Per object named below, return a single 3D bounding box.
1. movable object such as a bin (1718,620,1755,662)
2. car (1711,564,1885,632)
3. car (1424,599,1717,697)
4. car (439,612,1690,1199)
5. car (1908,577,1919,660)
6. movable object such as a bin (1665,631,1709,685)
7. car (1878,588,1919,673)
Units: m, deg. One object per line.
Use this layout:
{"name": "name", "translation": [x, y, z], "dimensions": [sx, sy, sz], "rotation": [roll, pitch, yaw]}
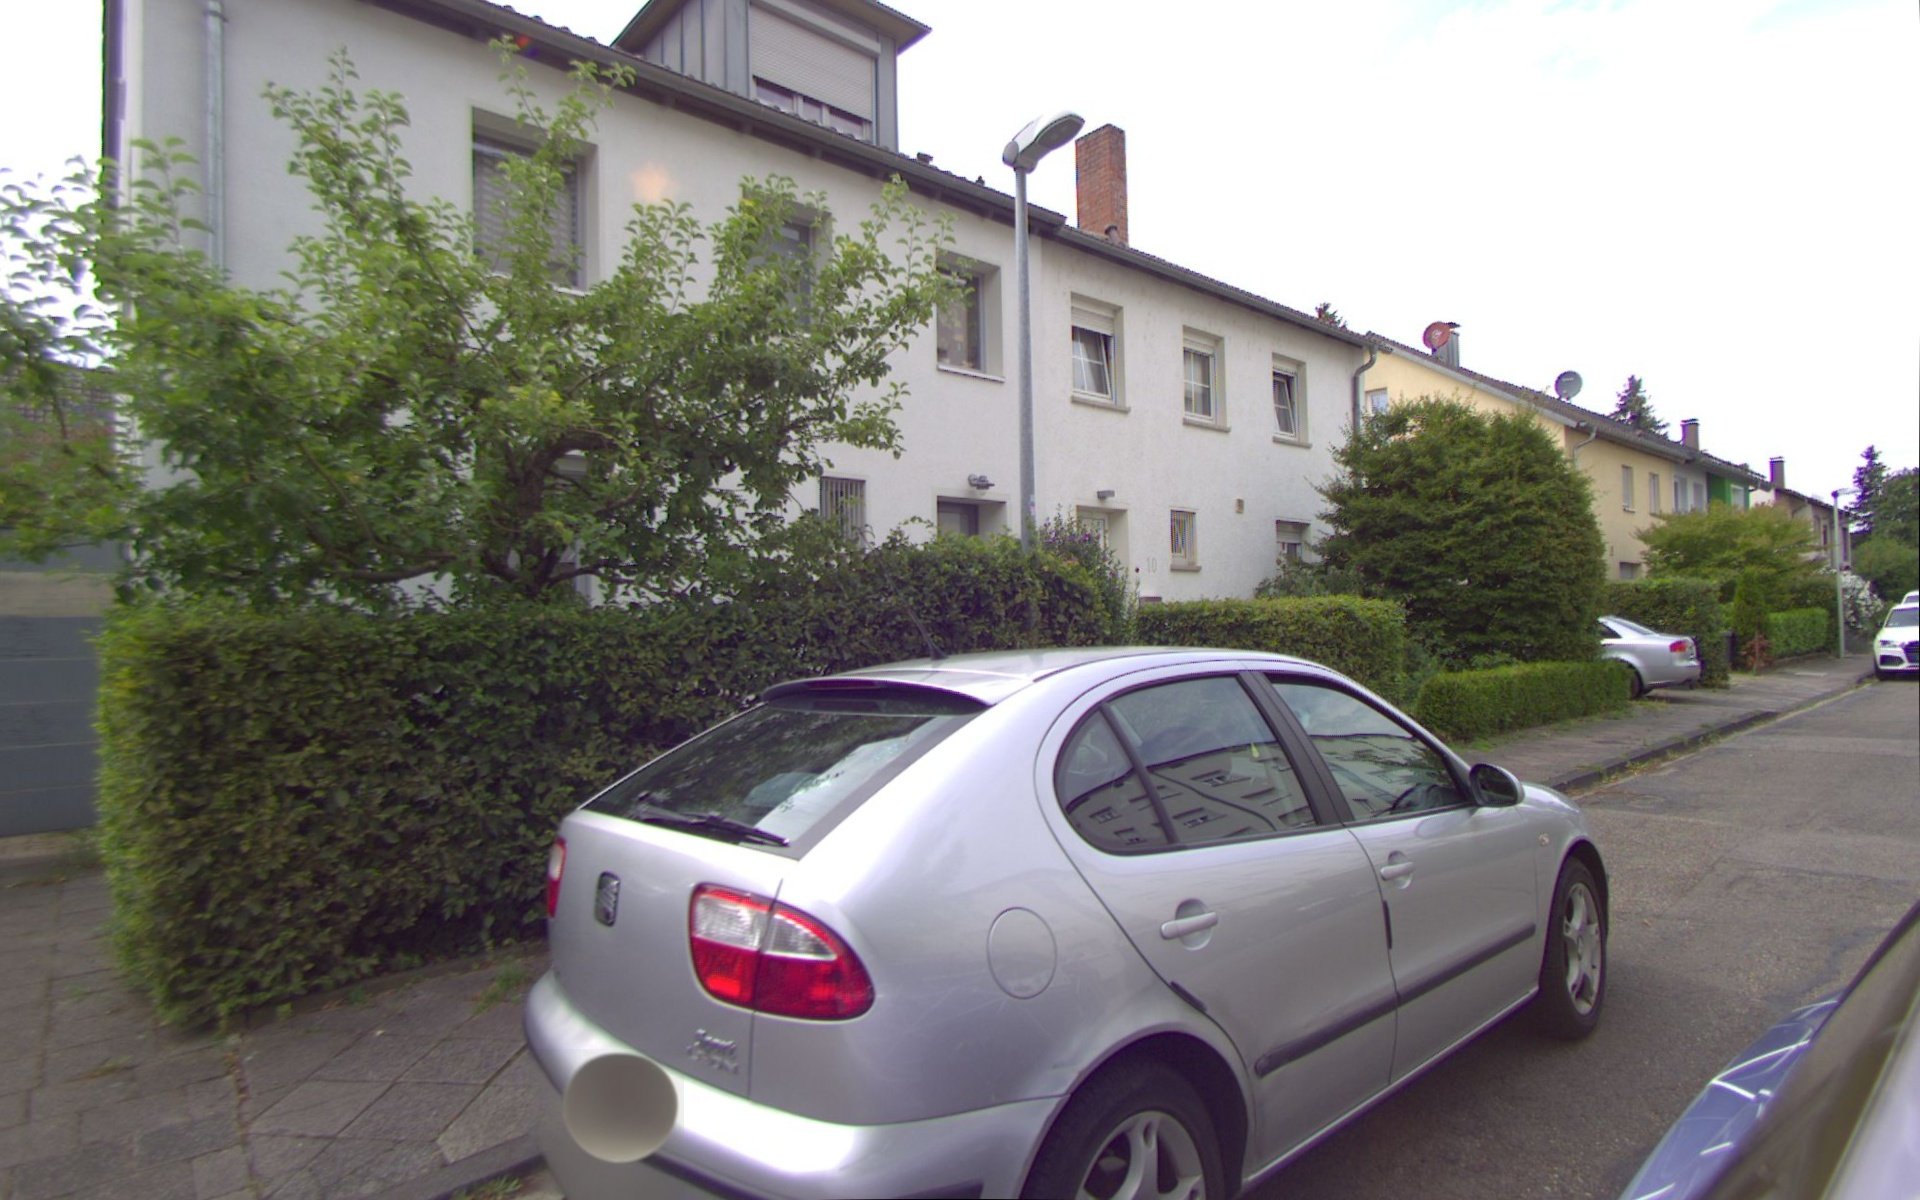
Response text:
{"name": "movable object such as a bin", "translation": [16.503, 0.870, 21.520], "dimensions": [0.520, 0.879, 0.510], "rotation": [0, -2, -42]}
{"name": "car", "translation": [33.644, -0.067, 40.774], "dimensions": [2.198, 2.574, 5.097], "rotation": [0, 0, -40]}
{"name": "car", "translation": [10.346, 0.723, 17.316], "dimensions": [4.019, 1.445, 1.824], "rotation": [0, 0, 44]}
{"name": "car", "translation": [0.769, 0.809, 3.484], "dimensions": [4.255, 1.388, 1.827], "rotation": [0, -4, -41]}
{"name": "car", "translation": [25.291, 0.379, 25.216], "dimensions": [5.163, 1.990, 1.905], "rotation": [0, -3, -42]}
{"name": "movable object such as a bin", "translation": [12.936, 1.023, 18.002], "dimensions": [0.491, 0.933, 0.510], "rotation": [0, -2, -42]}
{"name": "car", "translation": [20.532, 0.568, 21.032], "dimensions": [4.093, 1.657, 1.825], "rotation": [0, -3, -44]}
